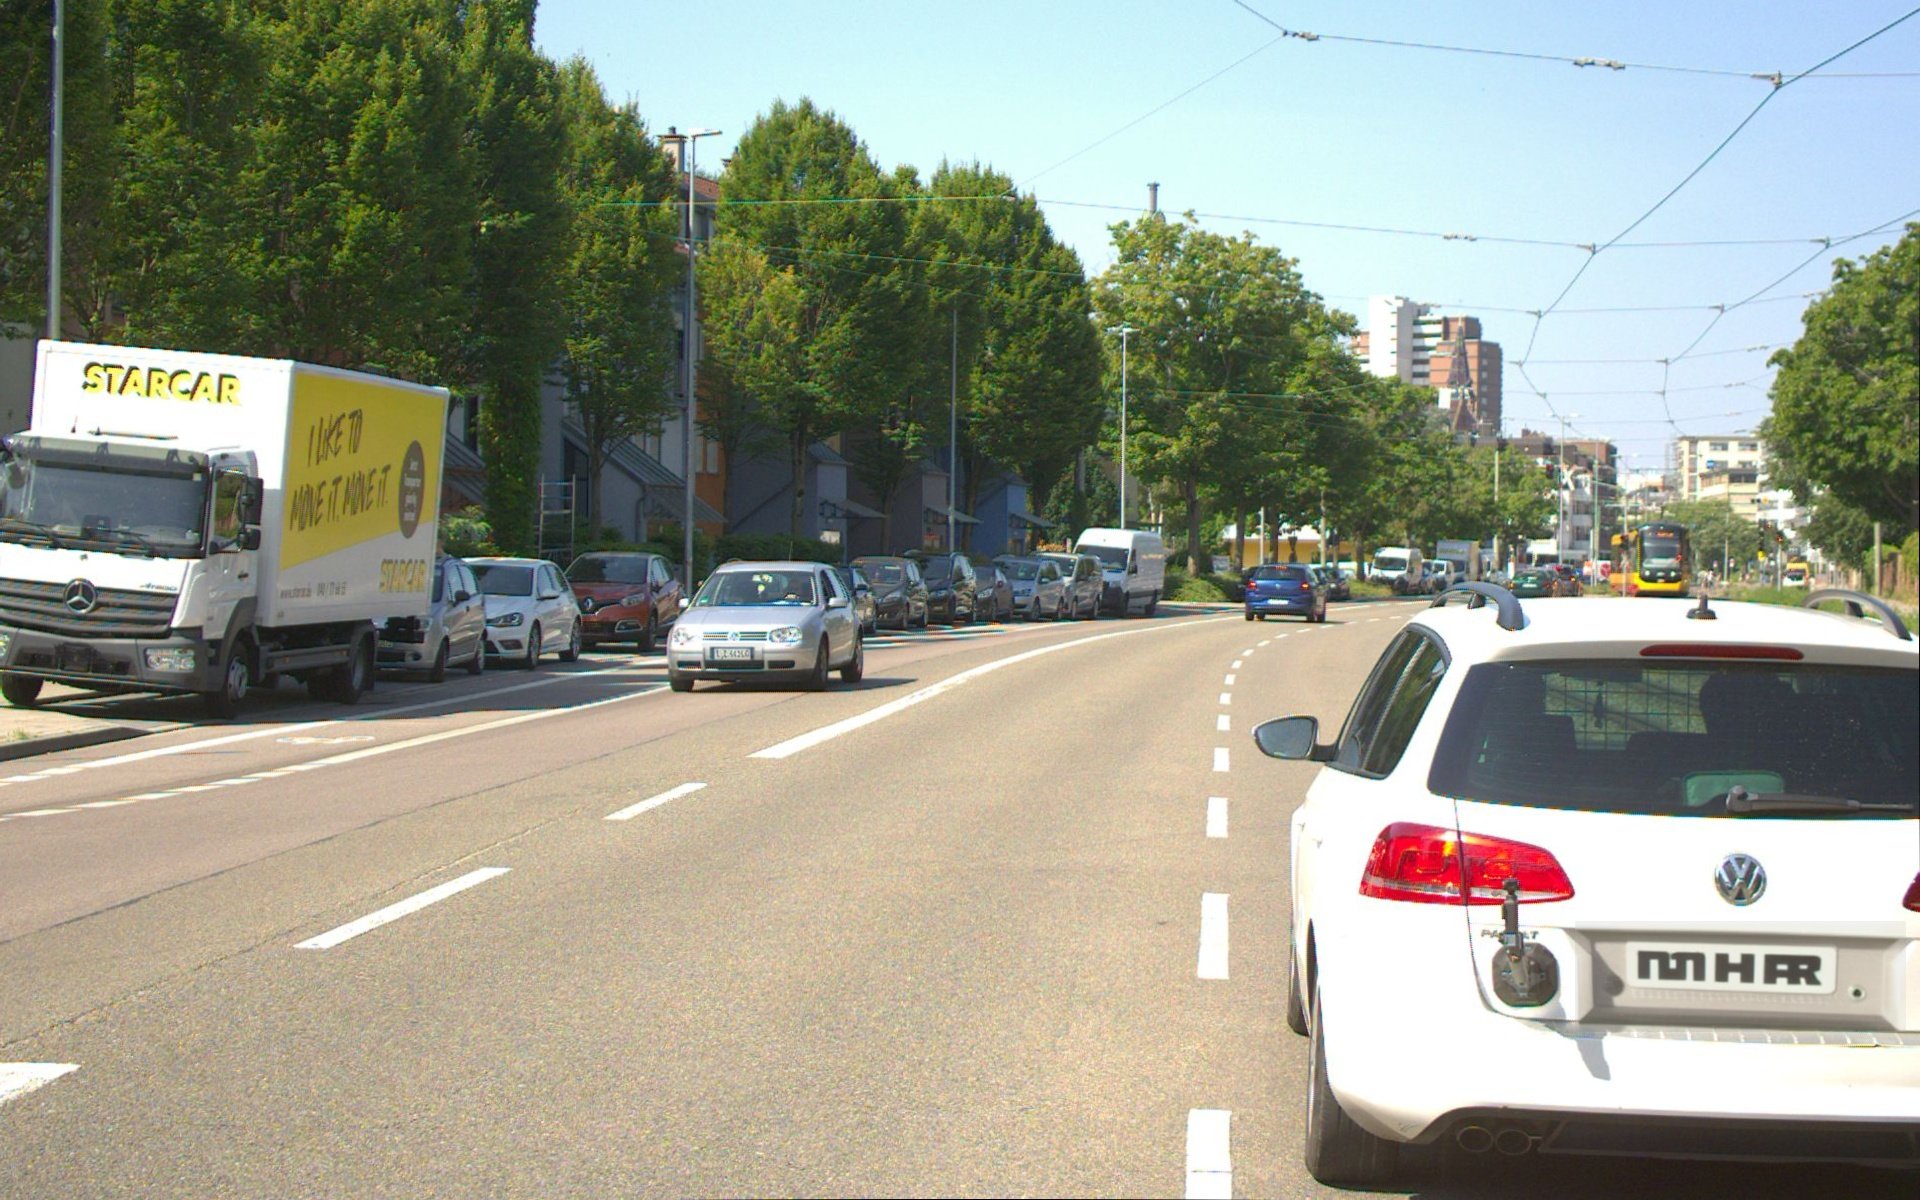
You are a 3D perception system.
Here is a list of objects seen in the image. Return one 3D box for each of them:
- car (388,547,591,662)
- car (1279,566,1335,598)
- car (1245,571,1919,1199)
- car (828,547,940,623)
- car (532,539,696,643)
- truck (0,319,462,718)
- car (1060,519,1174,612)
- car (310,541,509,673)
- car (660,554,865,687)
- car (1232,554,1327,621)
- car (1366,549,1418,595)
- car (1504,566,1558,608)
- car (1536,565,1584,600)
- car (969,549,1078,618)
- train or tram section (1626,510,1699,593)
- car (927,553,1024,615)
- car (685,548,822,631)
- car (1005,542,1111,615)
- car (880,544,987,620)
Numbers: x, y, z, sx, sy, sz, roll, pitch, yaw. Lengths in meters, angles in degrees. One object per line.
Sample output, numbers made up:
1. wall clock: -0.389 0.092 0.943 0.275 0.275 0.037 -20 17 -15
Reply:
1. car: -6.379 0.031 47.040 1.758 1.424 4.281 2 1 5
2. car: 15.148 -0.773 150.001 1.701 1.347 3.997 1 1 17
3. car: 1.717 0.713 9.444 1.691 1.446 4.458 2 2 3
4. car: -1.707 -0.356 78.554 1.717 1.619 4.311 3 1 10
5. car: -5.533 -0.171 55.433 1.731 1.546 4.317 2 1 6
6. truck: -7.529 -0.818 35.400 2.667 3.518 8.589 3 1 5
7. car: 4.991 -1.070 108.020 1.996 2.705 7.152 4 1 14
8. car: -6.772 0.057 42.586 1.610 1.478 3.635 3 1 4
9. car: -2.206 0.201 39.495 1.659 1.415 4.309 -1 1 6
10. car: 7.952 -0.339 85.350 1.801 1.502 3.998 2 2 13
11. car: 23.073 -1.484 183.299 1.881 2.407 5.112 1 1 17
12. car: 22.098 -0.508 132.963 1.801 1.502 3.998 2 1 13
13. car: 25.596 -0.765 146.646 1.801 1.455 3.998 1 1 13
14. car: 1.773 -0.455 94.353 1.802 1.718 4.906 4 1 14
15. train or tram section: 33.372 -2.266 163.003 2.513 3.734 13.301 1 1 15
16. car: 0.434 -0.422 89.366 1.691 1.469 4.046 4 1 11
17. car: -3.931 -0.203 66.374 1.781 1.478 4.856 3 0 6
18. car: 2.888 -0.624 99.894 1.921 1.941 5.351 4 1 13
19. car: -0.613 -0.454 83.985 1.770 1.717 4.868 3 1 9
